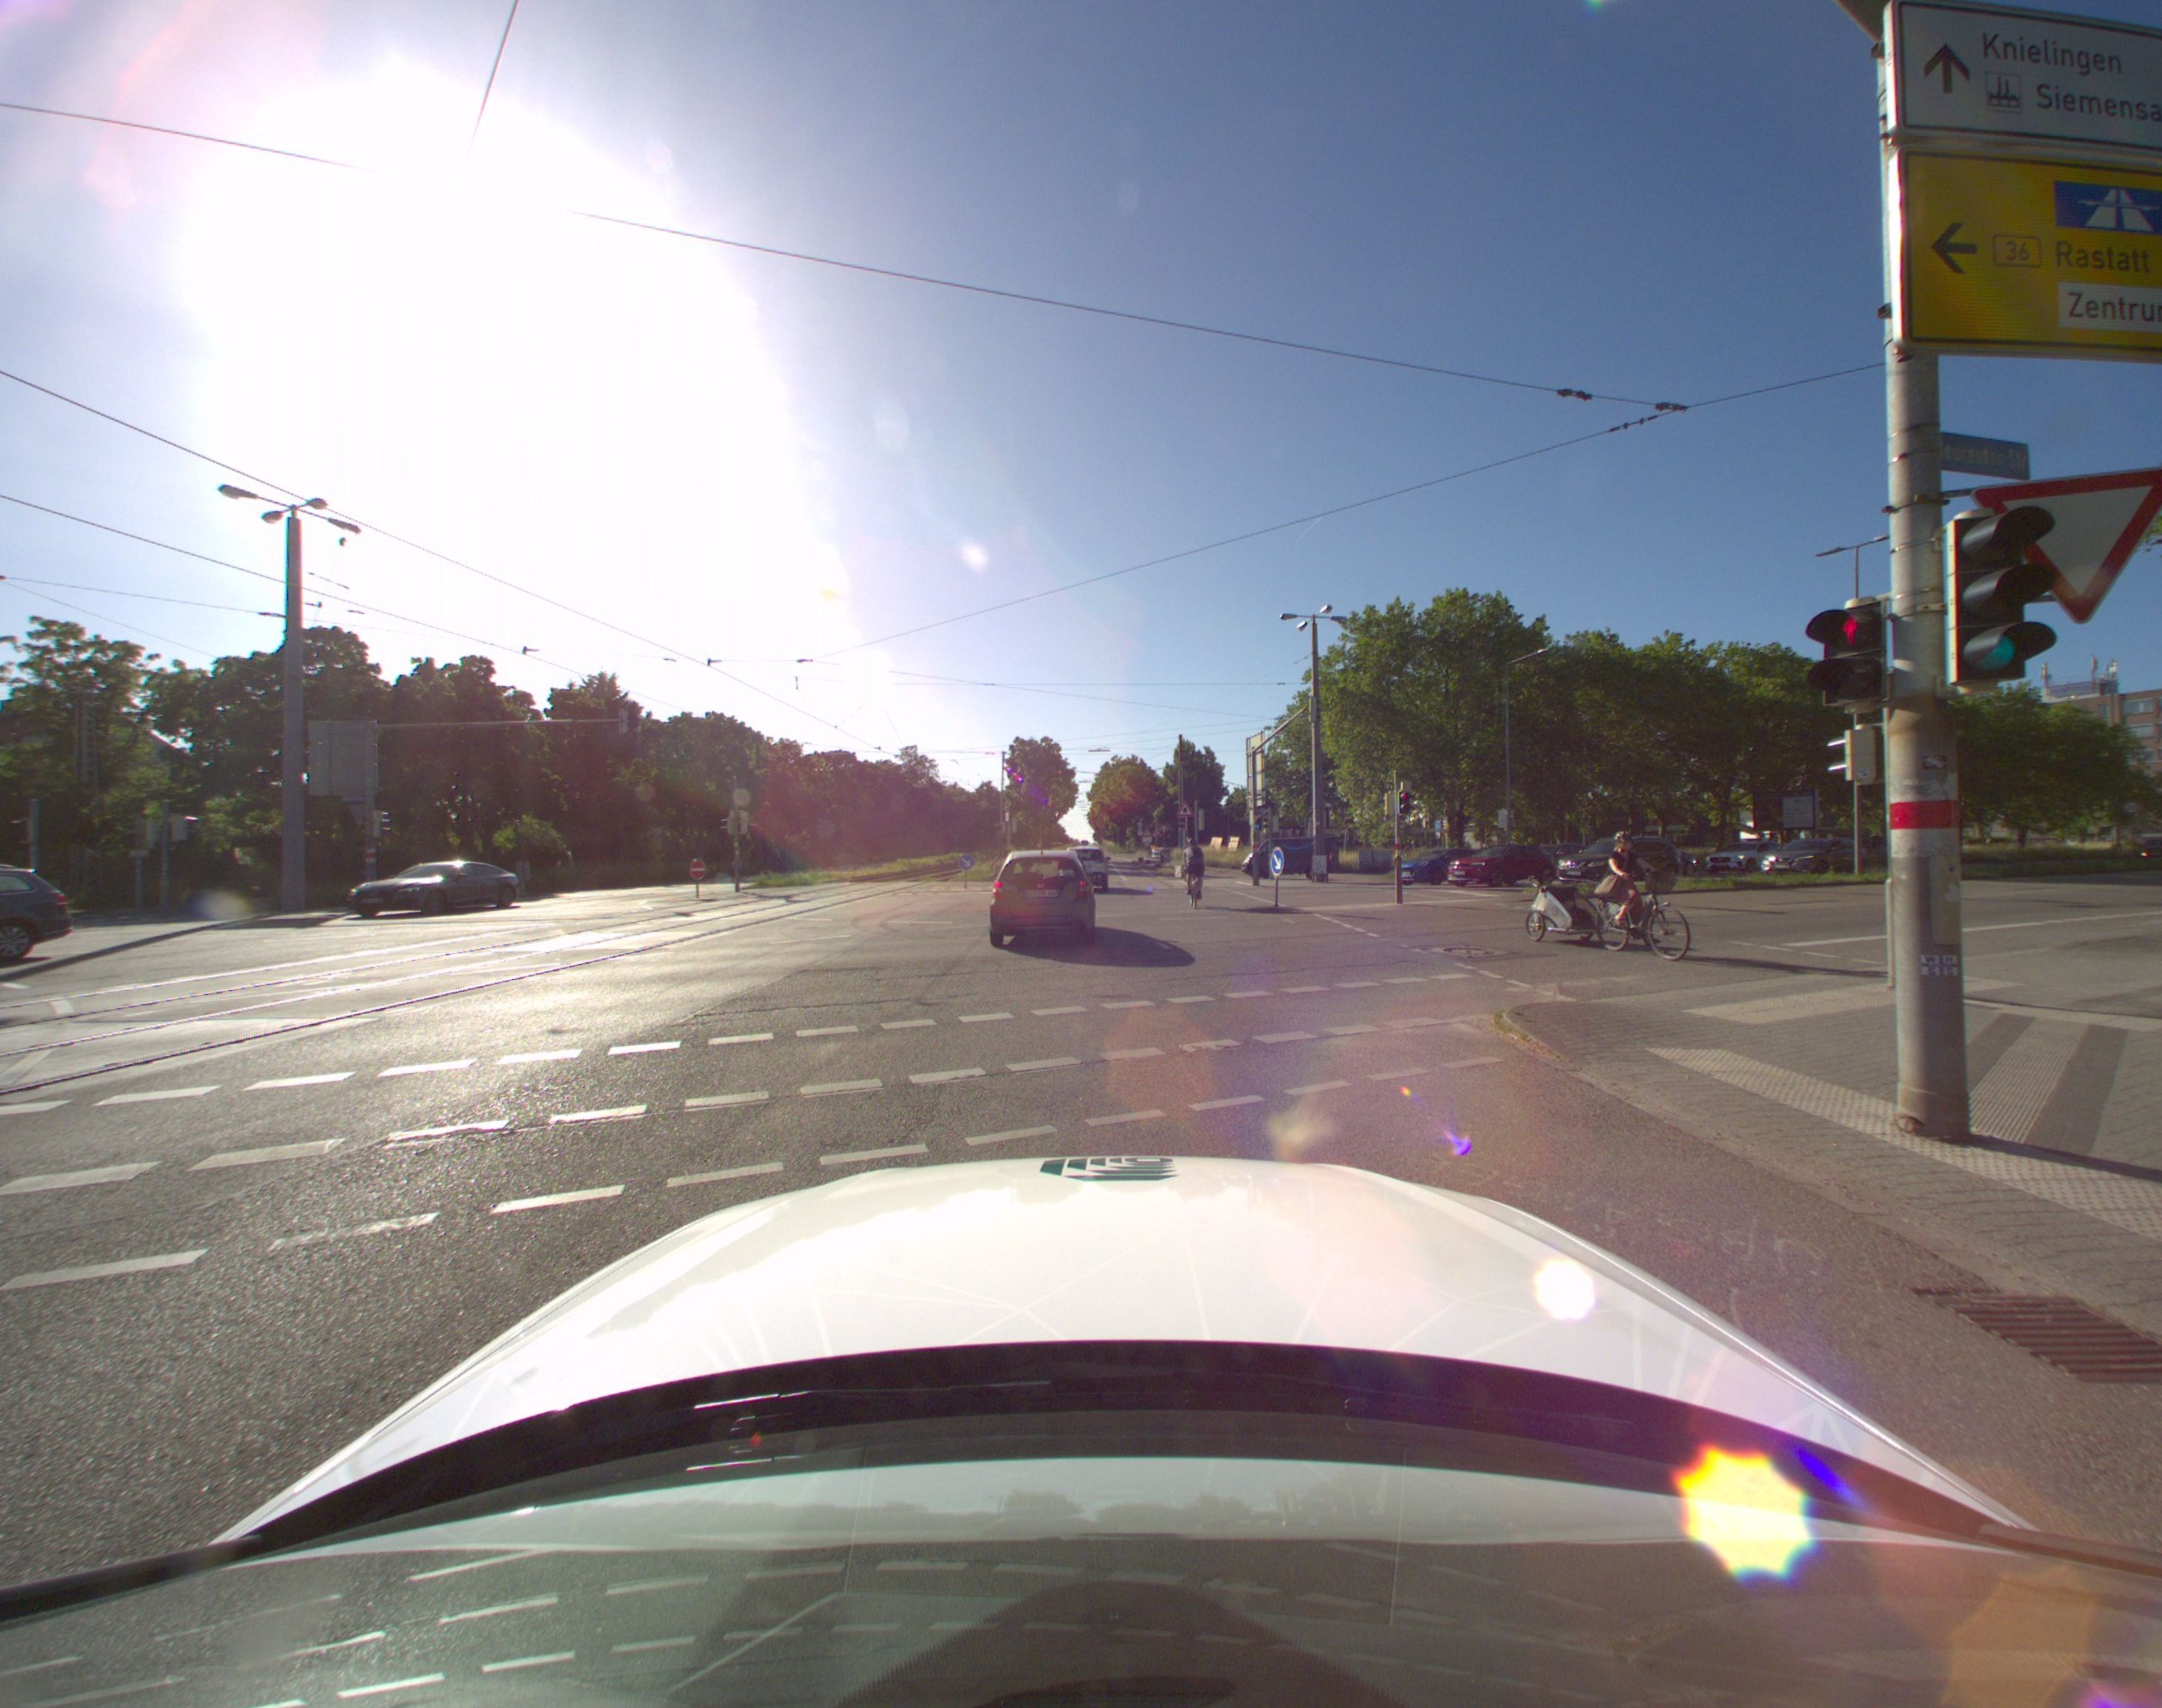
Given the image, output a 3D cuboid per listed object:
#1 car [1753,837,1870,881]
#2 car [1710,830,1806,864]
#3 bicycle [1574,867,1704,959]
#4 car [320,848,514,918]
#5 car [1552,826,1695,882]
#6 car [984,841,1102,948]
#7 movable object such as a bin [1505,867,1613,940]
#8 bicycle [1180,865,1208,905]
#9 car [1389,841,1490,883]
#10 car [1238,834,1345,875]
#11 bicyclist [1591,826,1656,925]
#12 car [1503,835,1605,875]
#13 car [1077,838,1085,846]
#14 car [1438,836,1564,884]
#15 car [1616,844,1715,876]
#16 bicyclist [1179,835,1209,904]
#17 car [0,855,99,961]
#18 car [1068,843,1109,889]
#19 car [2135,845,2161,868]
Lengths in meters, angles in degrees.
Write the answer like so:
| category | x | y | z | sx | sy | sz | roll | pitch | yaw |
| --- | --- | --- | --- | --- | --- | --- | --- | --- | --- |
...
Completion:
| category | x | y | z | sx | sy | sz | roll | pitch | yaw |
| --- | --- | --- | --- | --- | --- | --- | --- | --- | --- |
| car | 28.539 | 0.173 | 31.804 | 4.006 | 1.618 | 1.984 | -1 | 0 | -25 |
| car | 34.252 | -0.318 | 41.191 | 4.783 | 1.682 | 1.893 | 0 | -1 | -25 |
| bicycle | 7.661 | 0.764 | 11.290 | 0.465 | 1.119 | 1.818 | -1 | 0 | -3 |
| car | -17.697 | 0.717 | 21.992 | 1.784 | 1.687 | 4.004 | -1 | 0 | 3 |
| car | 18.063 | -0.029 | 27.096 | 4.502 | 1.711 | 1.905 | -1 | 0 | -25 |
| car | -0.524 | 0.582 | 13.969 | 1.664 | 1.515 | 3.677 | 1 | 2 | 2 |
| movable object such as a bin | 7.601 | 0.763 | 13.019 | 0.907 | 1.068 | 1.315 | -1 | 0 | -4 |
| bicycle | 2.847 | 0.769 | 20.631 | 0.522 | 0.923 | 2.091 | -1 | 0 | 3 |
| car | 14.861 | 0.317 | 33.753 | 3.867 | 1.600 | 1.699 | -1 | 0 | -26 |
| car | 11.127 | 0.040 | 43.222 | 5.053 | 2.070 | 2.144 | -1 | 0 | 33 |
| bicyclist | 7.649 | 0.295 | 11.498 | 0.508 | 1.340 | 0.564 | -1 | 0 | -4 |
| car | 21.155 | 0.023 | 36.413 | 4.183 | 1.678 | 1.918 | -1 | 0 | -26 |
| car | 0.123 | -3.328 | 221.635 | 1.986 | 2.013 | 4.002 | -1 | 0 | 2 |
| car | 15.239 | 0.190 | 29.574 | 4.093 | 1.600 | 1.803 | -1 | 0 | -22 |
| car | 28.210 | 0.257 | 39.299 | 4.578 | 1.408 | 1.918 | -1 | 0 | -25 |
| bicyclist | 2.813 | 0.374 | 20.298 | 0.613 | 1.679 | 0.934 | -1 | 0 | 2 |
| car | -17.137 | 0.829 | 11.128 | 1.808 | 1.596 | 4.690 | -1 | 0 | -2 |
| car | 0.305 | 0.414 | 29.472 | 1.346 | 1.527 | 3.125 | -1 | 0 | 2 |
| car | 79.329 | 0.140 | 59.975 | 3.215 | 1.616 | 1.361 | -1 | -3 | -26 |
